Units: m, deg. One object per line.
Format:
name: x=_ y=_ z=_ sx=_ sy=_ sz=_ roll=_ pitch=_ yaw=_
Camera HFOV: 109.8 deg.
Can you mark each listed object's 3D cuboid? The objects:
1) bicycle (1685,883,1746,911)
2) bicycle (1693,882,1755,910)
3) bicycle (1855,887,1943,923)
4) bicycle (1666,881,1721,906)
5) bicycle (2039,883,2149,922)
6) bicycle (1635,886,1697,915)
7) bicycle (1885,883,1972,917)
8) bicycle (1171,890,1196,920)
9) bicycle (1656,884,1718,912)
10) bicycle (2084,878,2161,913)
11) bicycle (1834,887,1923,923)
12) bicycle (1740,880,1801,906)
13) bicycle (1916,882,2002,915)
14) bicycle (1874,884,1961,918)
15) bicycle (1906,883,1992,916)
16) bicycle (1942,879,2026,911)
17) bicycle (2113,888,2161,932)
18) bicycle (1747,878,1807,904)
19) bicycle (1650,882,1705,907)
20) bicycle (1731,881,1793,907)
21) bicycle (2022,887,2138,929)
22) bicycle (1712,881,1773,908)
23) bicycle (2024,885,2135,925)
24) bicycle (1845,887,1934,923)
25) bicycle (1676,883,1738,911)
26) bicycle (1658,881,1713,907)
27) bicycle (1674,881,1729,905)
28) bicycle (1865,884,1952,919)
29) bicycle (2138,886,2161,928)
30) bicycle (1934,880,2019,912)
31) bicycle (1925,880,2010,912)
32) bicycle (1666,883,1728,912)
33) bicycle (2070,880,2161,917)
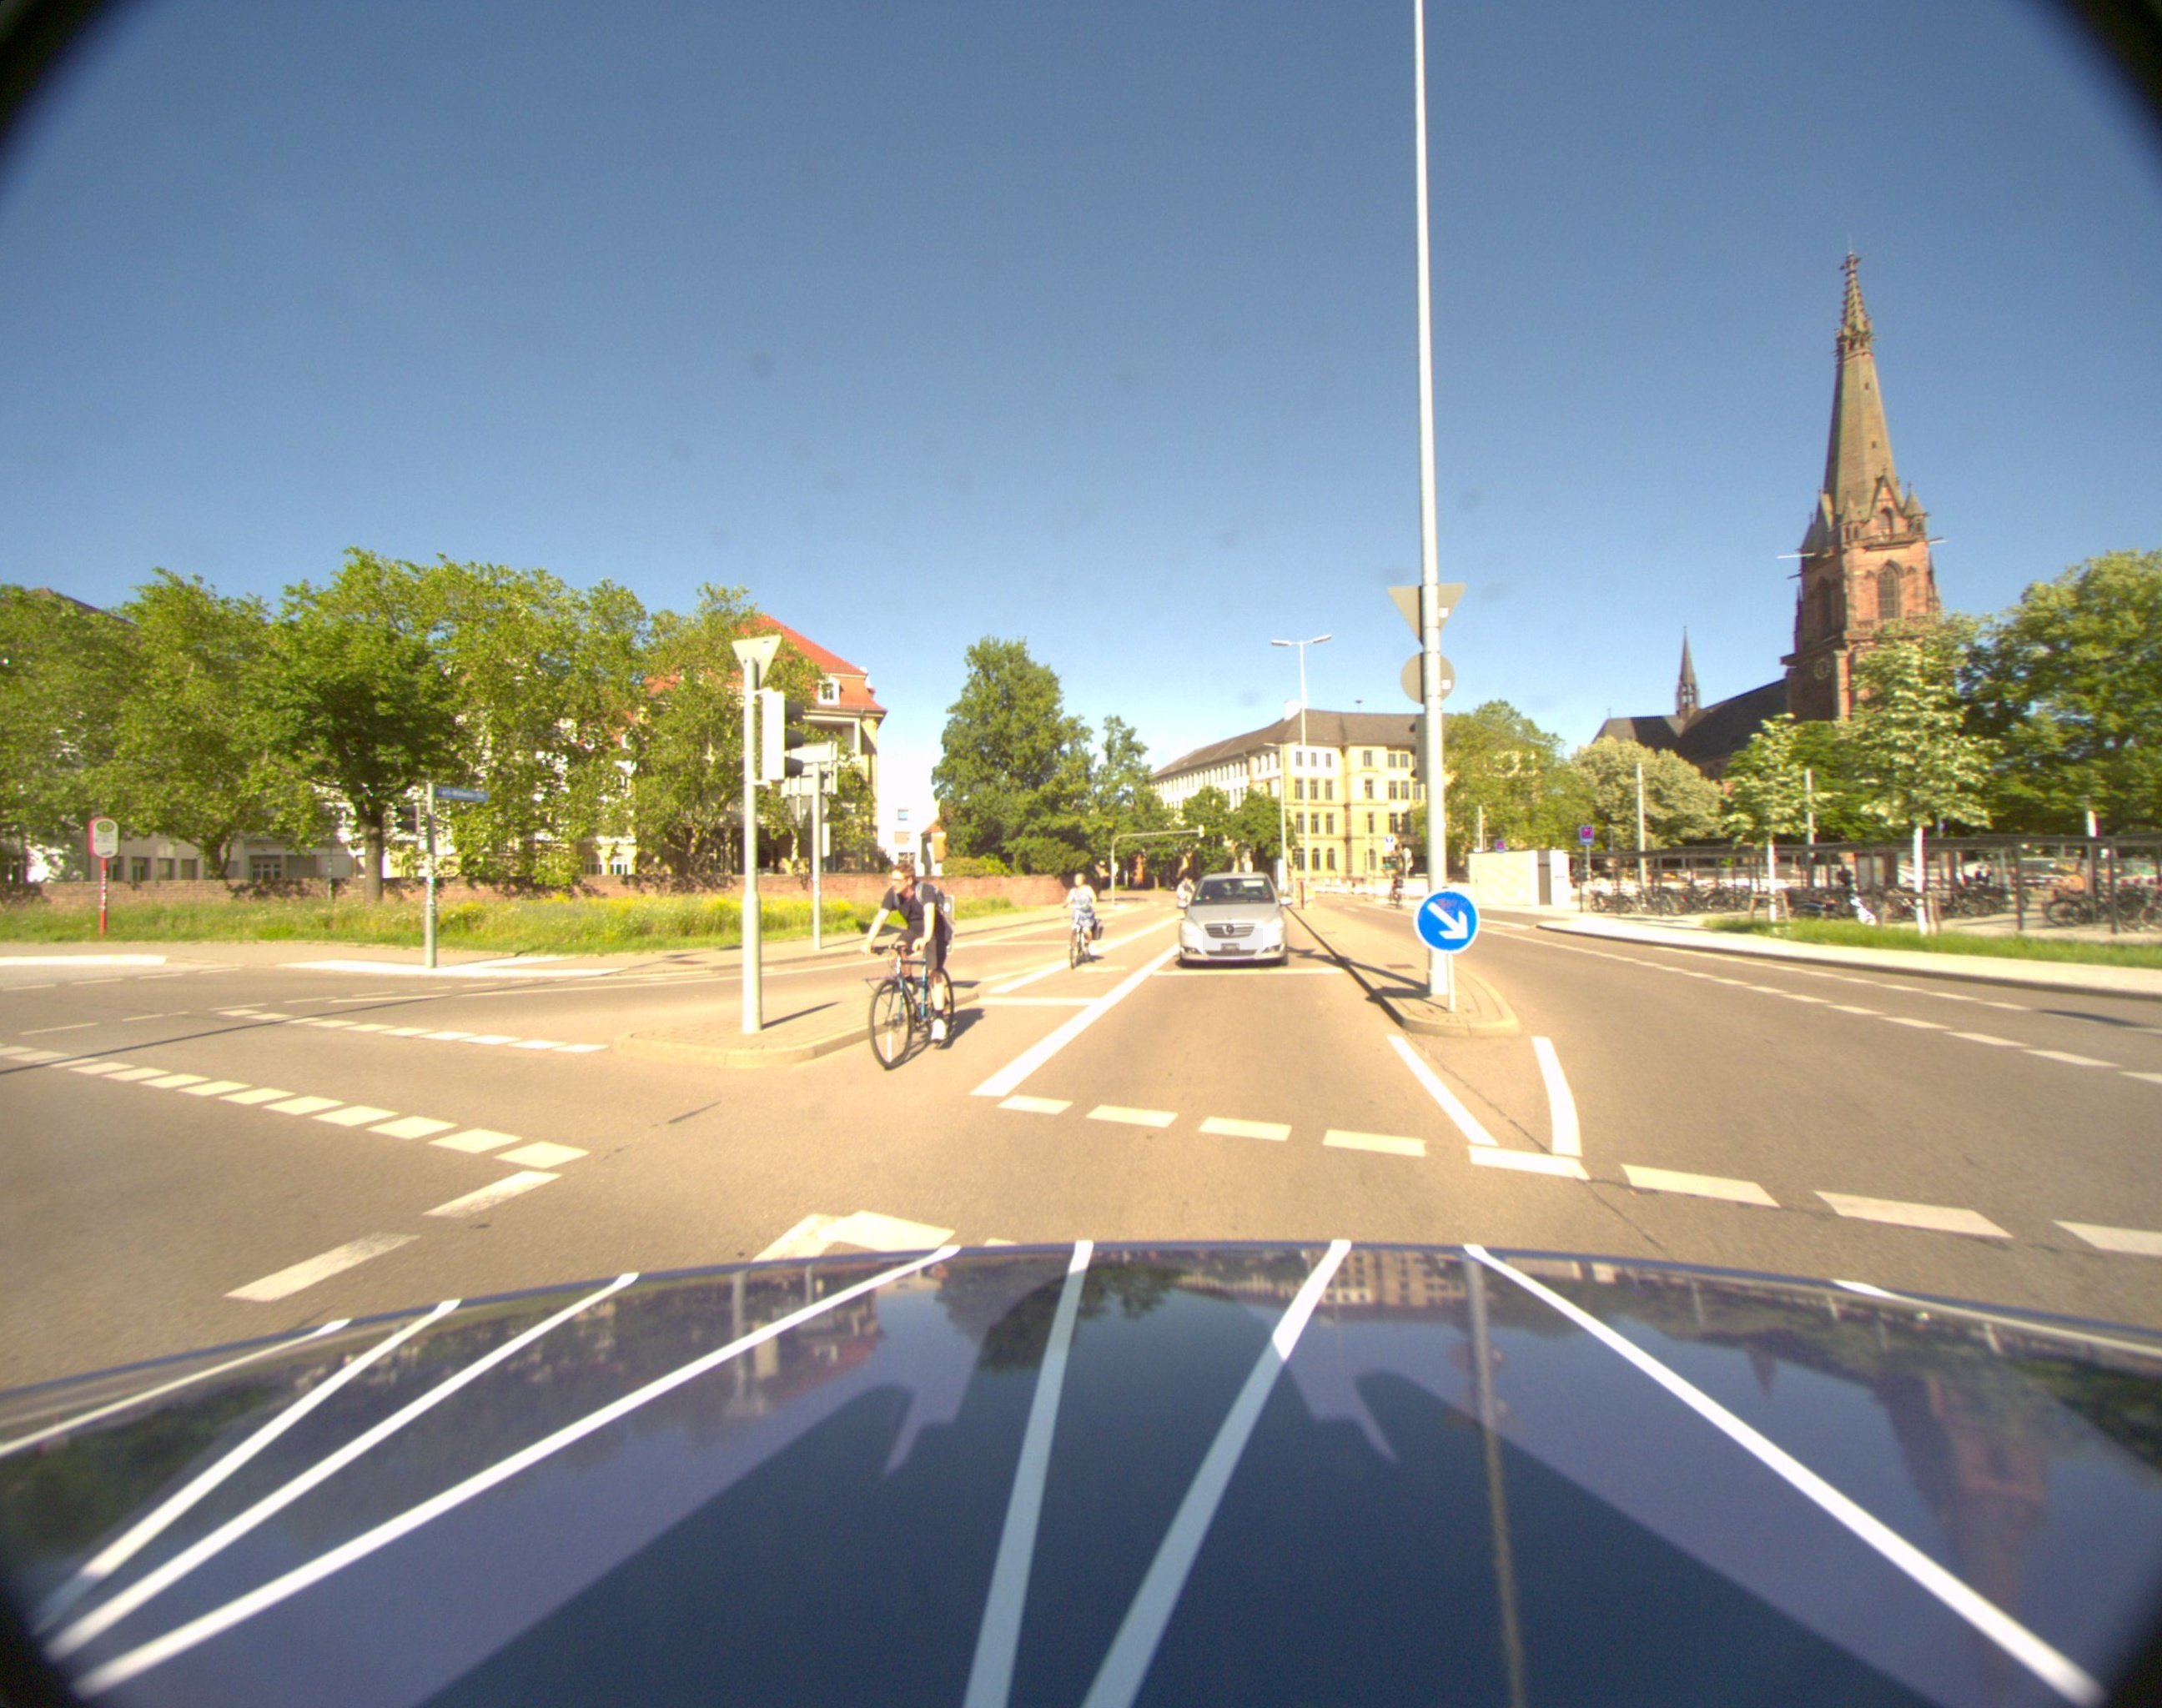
bicycle: x=24.905 y=1.661 z=29.864 sx=0.569 sy=1.031 sz=1.785 roll=1 pitch=-1 yaw=-24
bicycle: x=25.455 y=1.650 z=30.110 sx=0.569 sy=1.031 sz=1.785 roll=1 pitch=-1 yaw=-24
bicycle: x=25.533 y=1.565 z=23.763 sx=0.569 sy=1.031 sz=1.785 roll=1 pitch=-1 yaw=-24
bicycle: x=26.528 y=1.686 z=32.945 sx=0.569 sy=1.031 sz=1.785 roll=1 pitch=-1 yaw=-24
bicycle: x=28.656 y=1.355 z=21.536 sx=0.569 sy=1.031 sz=1.785 roll=1 pitch=-1 yaw=-24
bicycle: x=22.021 y=1.746 z=28.646 sx=0.569 sy=1.031 sz=1.785 roll=1 pitch=-1 yaw=-24
bicycle: x=27.424 y=1.475 z=24.617 sx=0.569 sy=1.031 sz=1.785 roll=1 pitch=-1 yaw=-24
bicycle: x=4.229 y=2.088 z=31.238 sx=0.777 sy=1.158 sz=1.970 roll=-2 pitch=-2 yaw=14
bicycle: x=23.217 y=1.675 z=29.149 sx=0.569 sy=1.031 sz=1.785 roll=1 pitch=-1 yaw=-24
bicycle: x=32.009 y=1.245 z=23.075 sx=0.569 sy=1.031 sz=1.785 roll=1 pitch=-1 yaw=-24
bicycle: x=24.373 y=1.541 z=23.246 sx=0.569 sy=1.031 sz=1.785 roll=1 pitch=-1 yaw=-24
bicycle: x=28.410 y=1.580 z=31.358 sx=0.569 sy=1.031 sz=1.785 roll=1 pitch=-1 yaw=-24
bicycle: x=29.438 y=1.476 z=25.503 sx=0.569 sy=1.031 sz=1.785 roll=1 pitch=-1 yaw=-24
bicycle: x=26.783 y=1.484 z=24.357 sx=0.569 sy=1.031 sz=1.785 roll=1 pitch=-1 yaw=-24
bicycle: x=28.741 y=1.501 z=25.186 sx=0.569 sy=1.031 sz=1.785 roll=1 pitch=-1 yaw=-24
bicycle: x=31.165 y=1.391 z=26.250 sx=0.569 sy=1.031 sz=1.785 roll=1 pitch=-1 yaw=-24
bicycle: x=26.265 y=1.347 z=18.181 sx=0.569 sy=1.031 sz=1.785 roll=1 pitch=-1 yaw=-24
bicycle: x=28.969 y=1.541 z=31.653 sx=0.569 sy=1.031 sz=1.785 roll=1 pitch=-1 yaw=-24
bicycle: x=25.434 y=1.721 z=32.447 sx=0.569 sy=1.031 sz=1.785 roll=1 pitch=-1 yaw=-24
bicycle: x=27.840 y=1.612 z=31.093 sx=0.569 sy=1.031 sz=1.785 roll=1 pitch=-1 yaw=-24
bicycle: x=26.697 y=1.412 z=20.341 sx=0.569 sy=1.031 sz=1.785 roll=1 pitch=-1 yaw=-24
bicycle: x=26.602 y=1.608 z=30.594 sx=0.569 sy=1.031 sz=1.785 roll=1 pitch=-1 yaw=-24
bicycle: x=27.734 y=1.393 z=21.147 sx=0.569 sy=1.031 sz=1.785 roll=1 pitch=-1 yaw=-24
bicycle: x=24.984 y=1.561 z=23.510 sx=0.569 sy=1.031 sz=1.785 roll=1 pitch=-1 yaw=-24
bicycle: x=24.348 y=1.661 z=29.600 sx=0.569 sy=1.031 sz=1.785 roll=1 pitch=-1 yaw=-24
bicycle: x=25.976 y=1.710 z=32.699 sx=0.569 sy=1.031 sz=1.785 roll=1 pitch=-1 yaw=-24
bicycle: x=27.077 y=1.687 z=33.174 sx=0.569 sy=1.031 sz=1.785 roll=1 pitch=-1 yaw=-24
bicycle: x=26.201 y=1.492 z=24.095 sx=0.569 sy=1.031 sz=1.785 roll=1 pitch=-1 yaw=-24
bicycle: x=27.204 y=1.310 z=18.405 sx=0.569 sy=1.031 sz=1.785 roll=1 pitch=-1 yaw=-24
bicycle: x=30.582 y=1.403 z=25.986 sx=0.569 sy=1.031 sz=1.785 roll=1 pitch=-1 yaw=-24
bicycle: x=29.998 y=1.403 z=25.735 sx=0.569 sy=1.031 sz=1.785 roll=1 pitch=-1 yaw=-24
bicycle: x=23.791 y=1.671 z=29.370 sx=0.569 sy=1.031 sz=1.785 roll=1 pitch=-1 yaw=-24
bicycle: x=30.744 y=1.285 z=22.440 sx=0.569 sy=1.031 sz=1.785 roll=1 pitch=-1 yaw=-24
